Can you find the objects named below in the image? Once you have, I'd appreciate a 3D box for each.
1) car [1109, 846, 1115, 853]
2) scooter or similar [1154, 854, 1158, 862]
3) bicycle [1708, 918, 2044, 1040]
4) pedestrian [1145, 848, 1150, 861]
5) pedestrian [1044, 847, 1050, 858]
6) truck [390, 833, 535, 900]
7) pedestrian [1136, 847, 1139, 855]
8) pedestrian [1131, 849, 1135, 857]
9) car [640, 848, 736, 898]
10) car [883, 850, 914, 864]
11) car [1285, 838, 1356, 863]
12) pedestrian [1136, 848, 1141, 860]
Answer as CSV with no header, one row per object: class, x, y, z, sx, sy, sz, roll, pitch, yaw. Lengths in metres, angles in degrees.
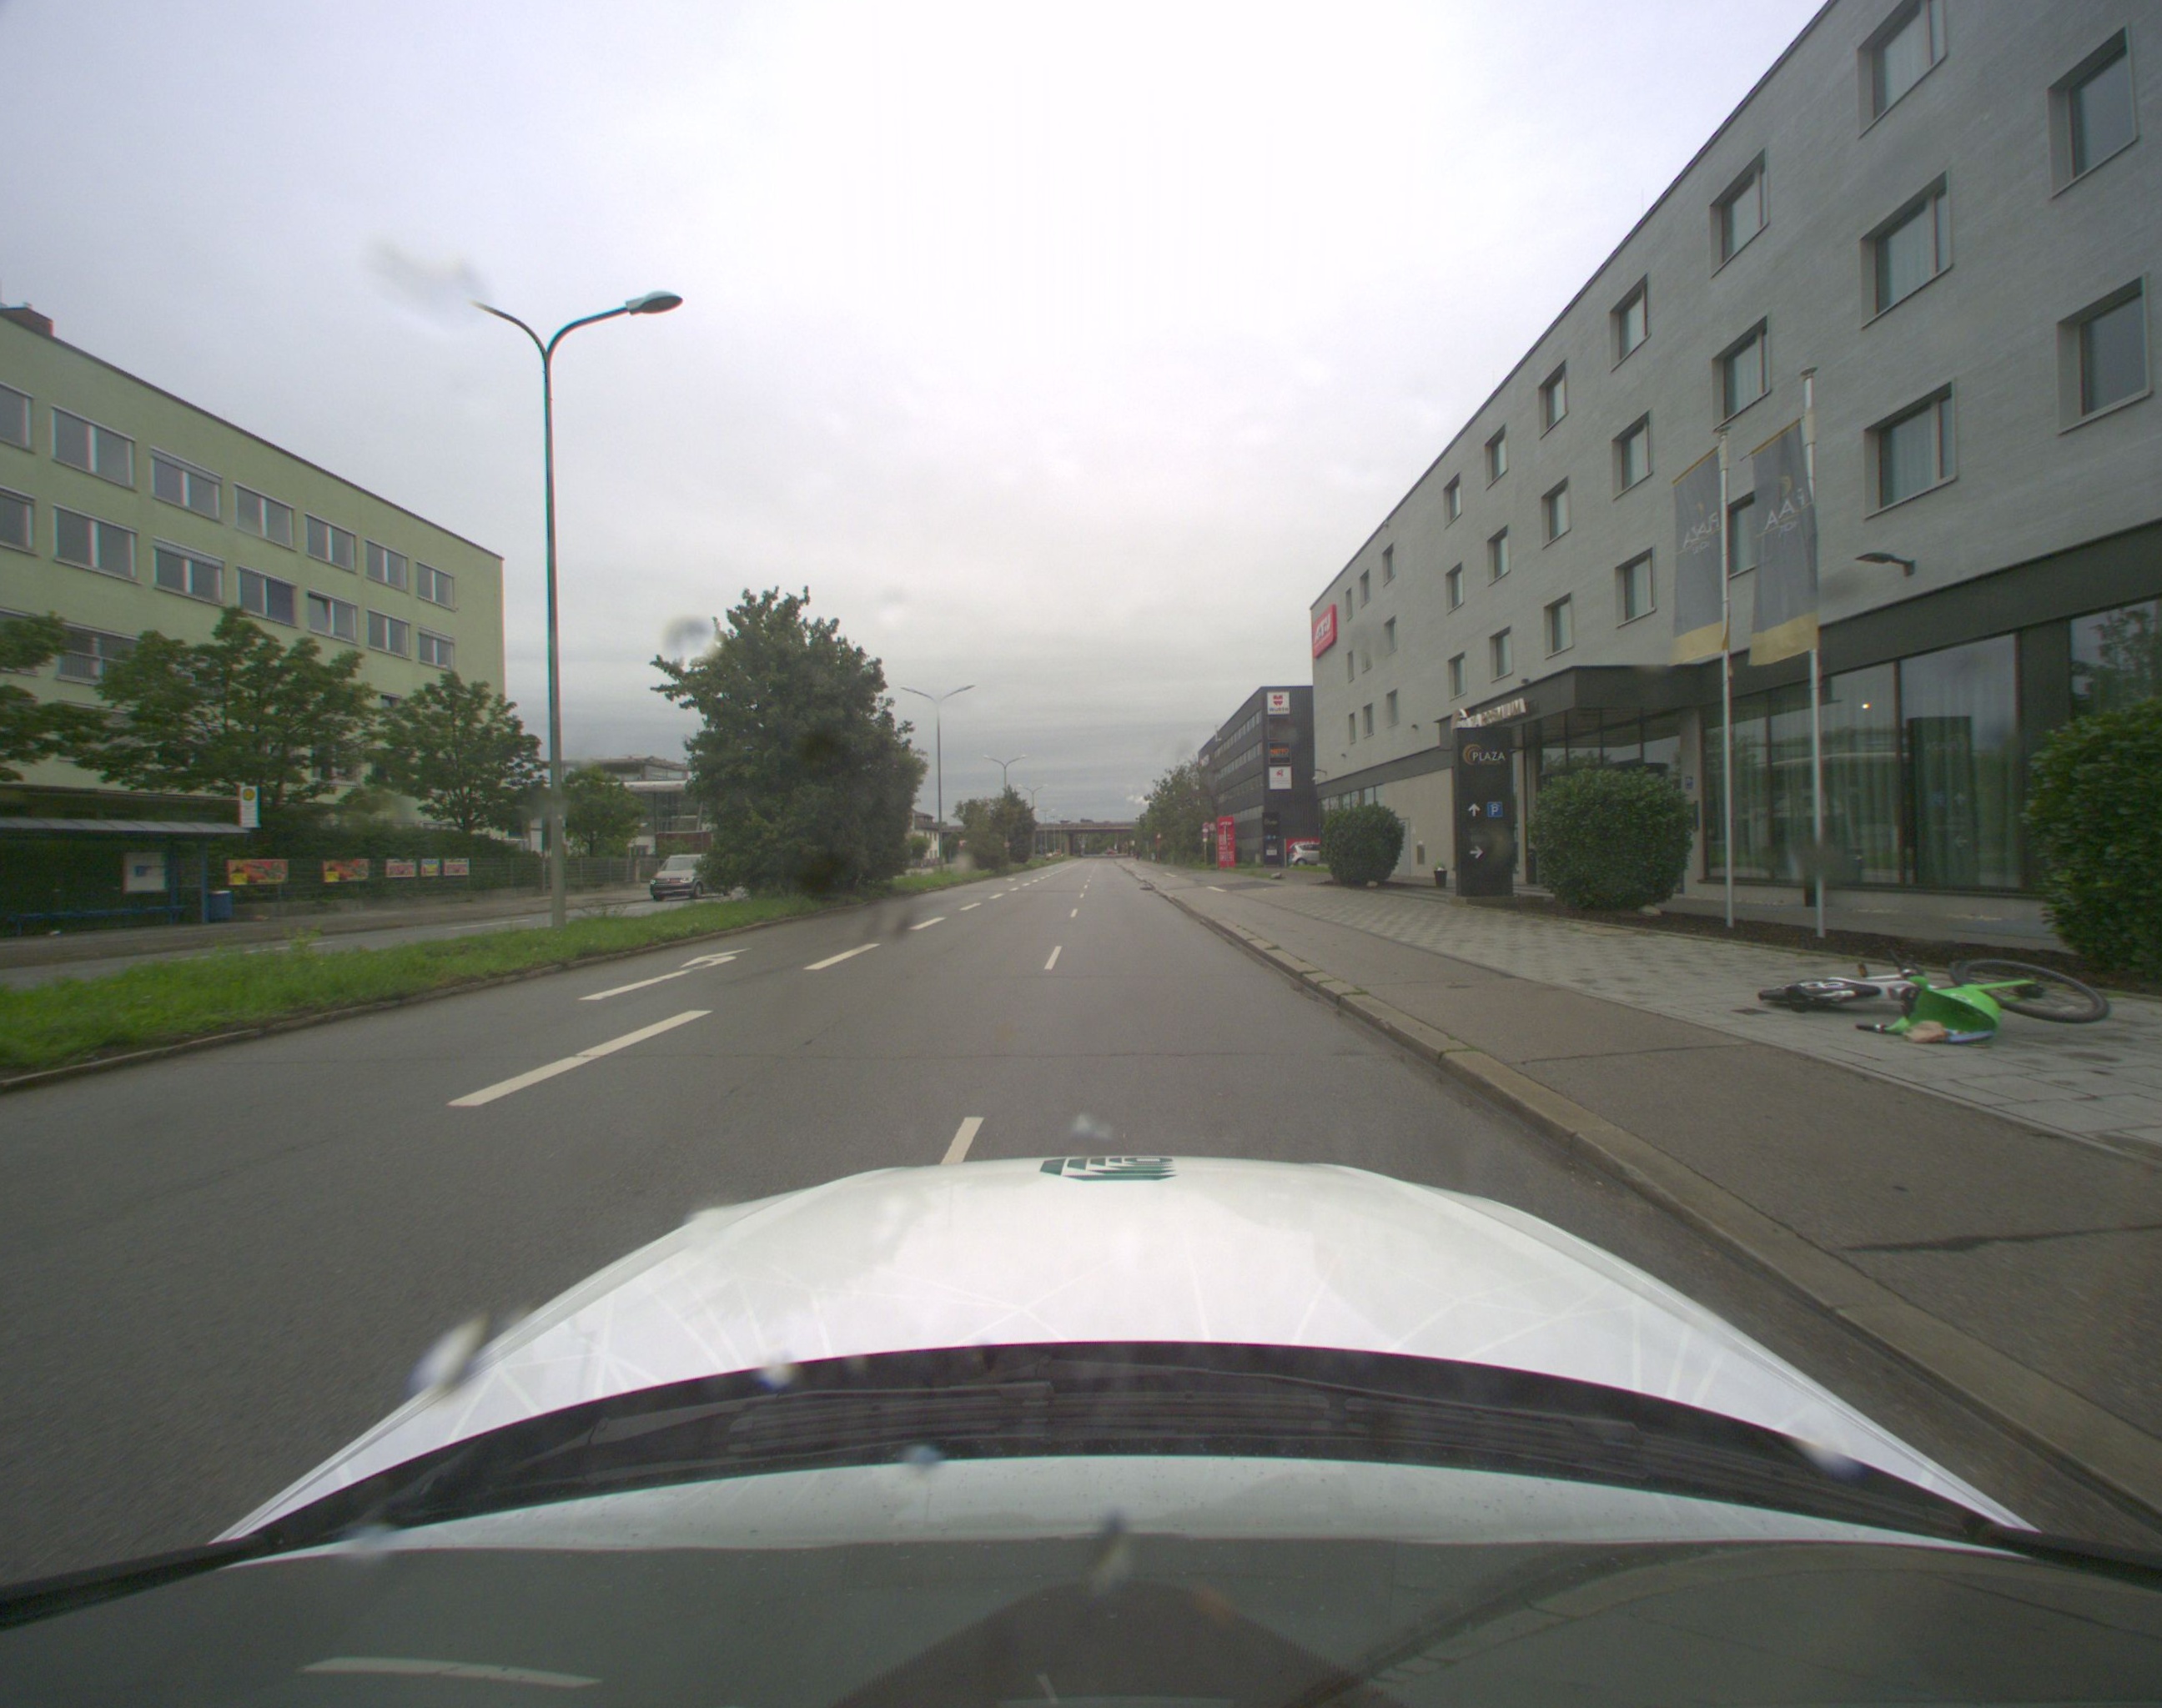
car,9.434,-1.411,247.788,1.805,2.013,3.836,0,0,3
scooter or similar,9.533,0.492,103.402,0.303,1.004,1.219,-3,0,-1
bicycle,5.528,0.832,5.847,0.717,0.548,1.733,-5,0,1
pedestrian,10.346,0.055,126.805,0.686,1.876,0.662,-3,0,1
pedestrian,-4.868,-0.193,117.082,0.656,1.617,0.692,-3,0,6
truck,-27.998,0.518,37.160,1.983,2.748,5.314,-3,0,7
pedestrian,11.230,-0.552,161.876,0.686,1.617,0.662,-3,0,1
pedestrian,10.421,-0.240,162.859,0.686,1.617,0.662,-3,0,1
car,-17.153,0.785,35.802,1.987,1.960,4.324,-3,0,0
car,-25.207,0.382,112.601,4.143,1.708,1.842,-3,0,-11
car,15.116,-0.224,51.615,3.997,1.557,1.821,0,0,2
pedestrian,9.755,-0.019,137.273,0.686,1.876,0.662,-3,0,1
